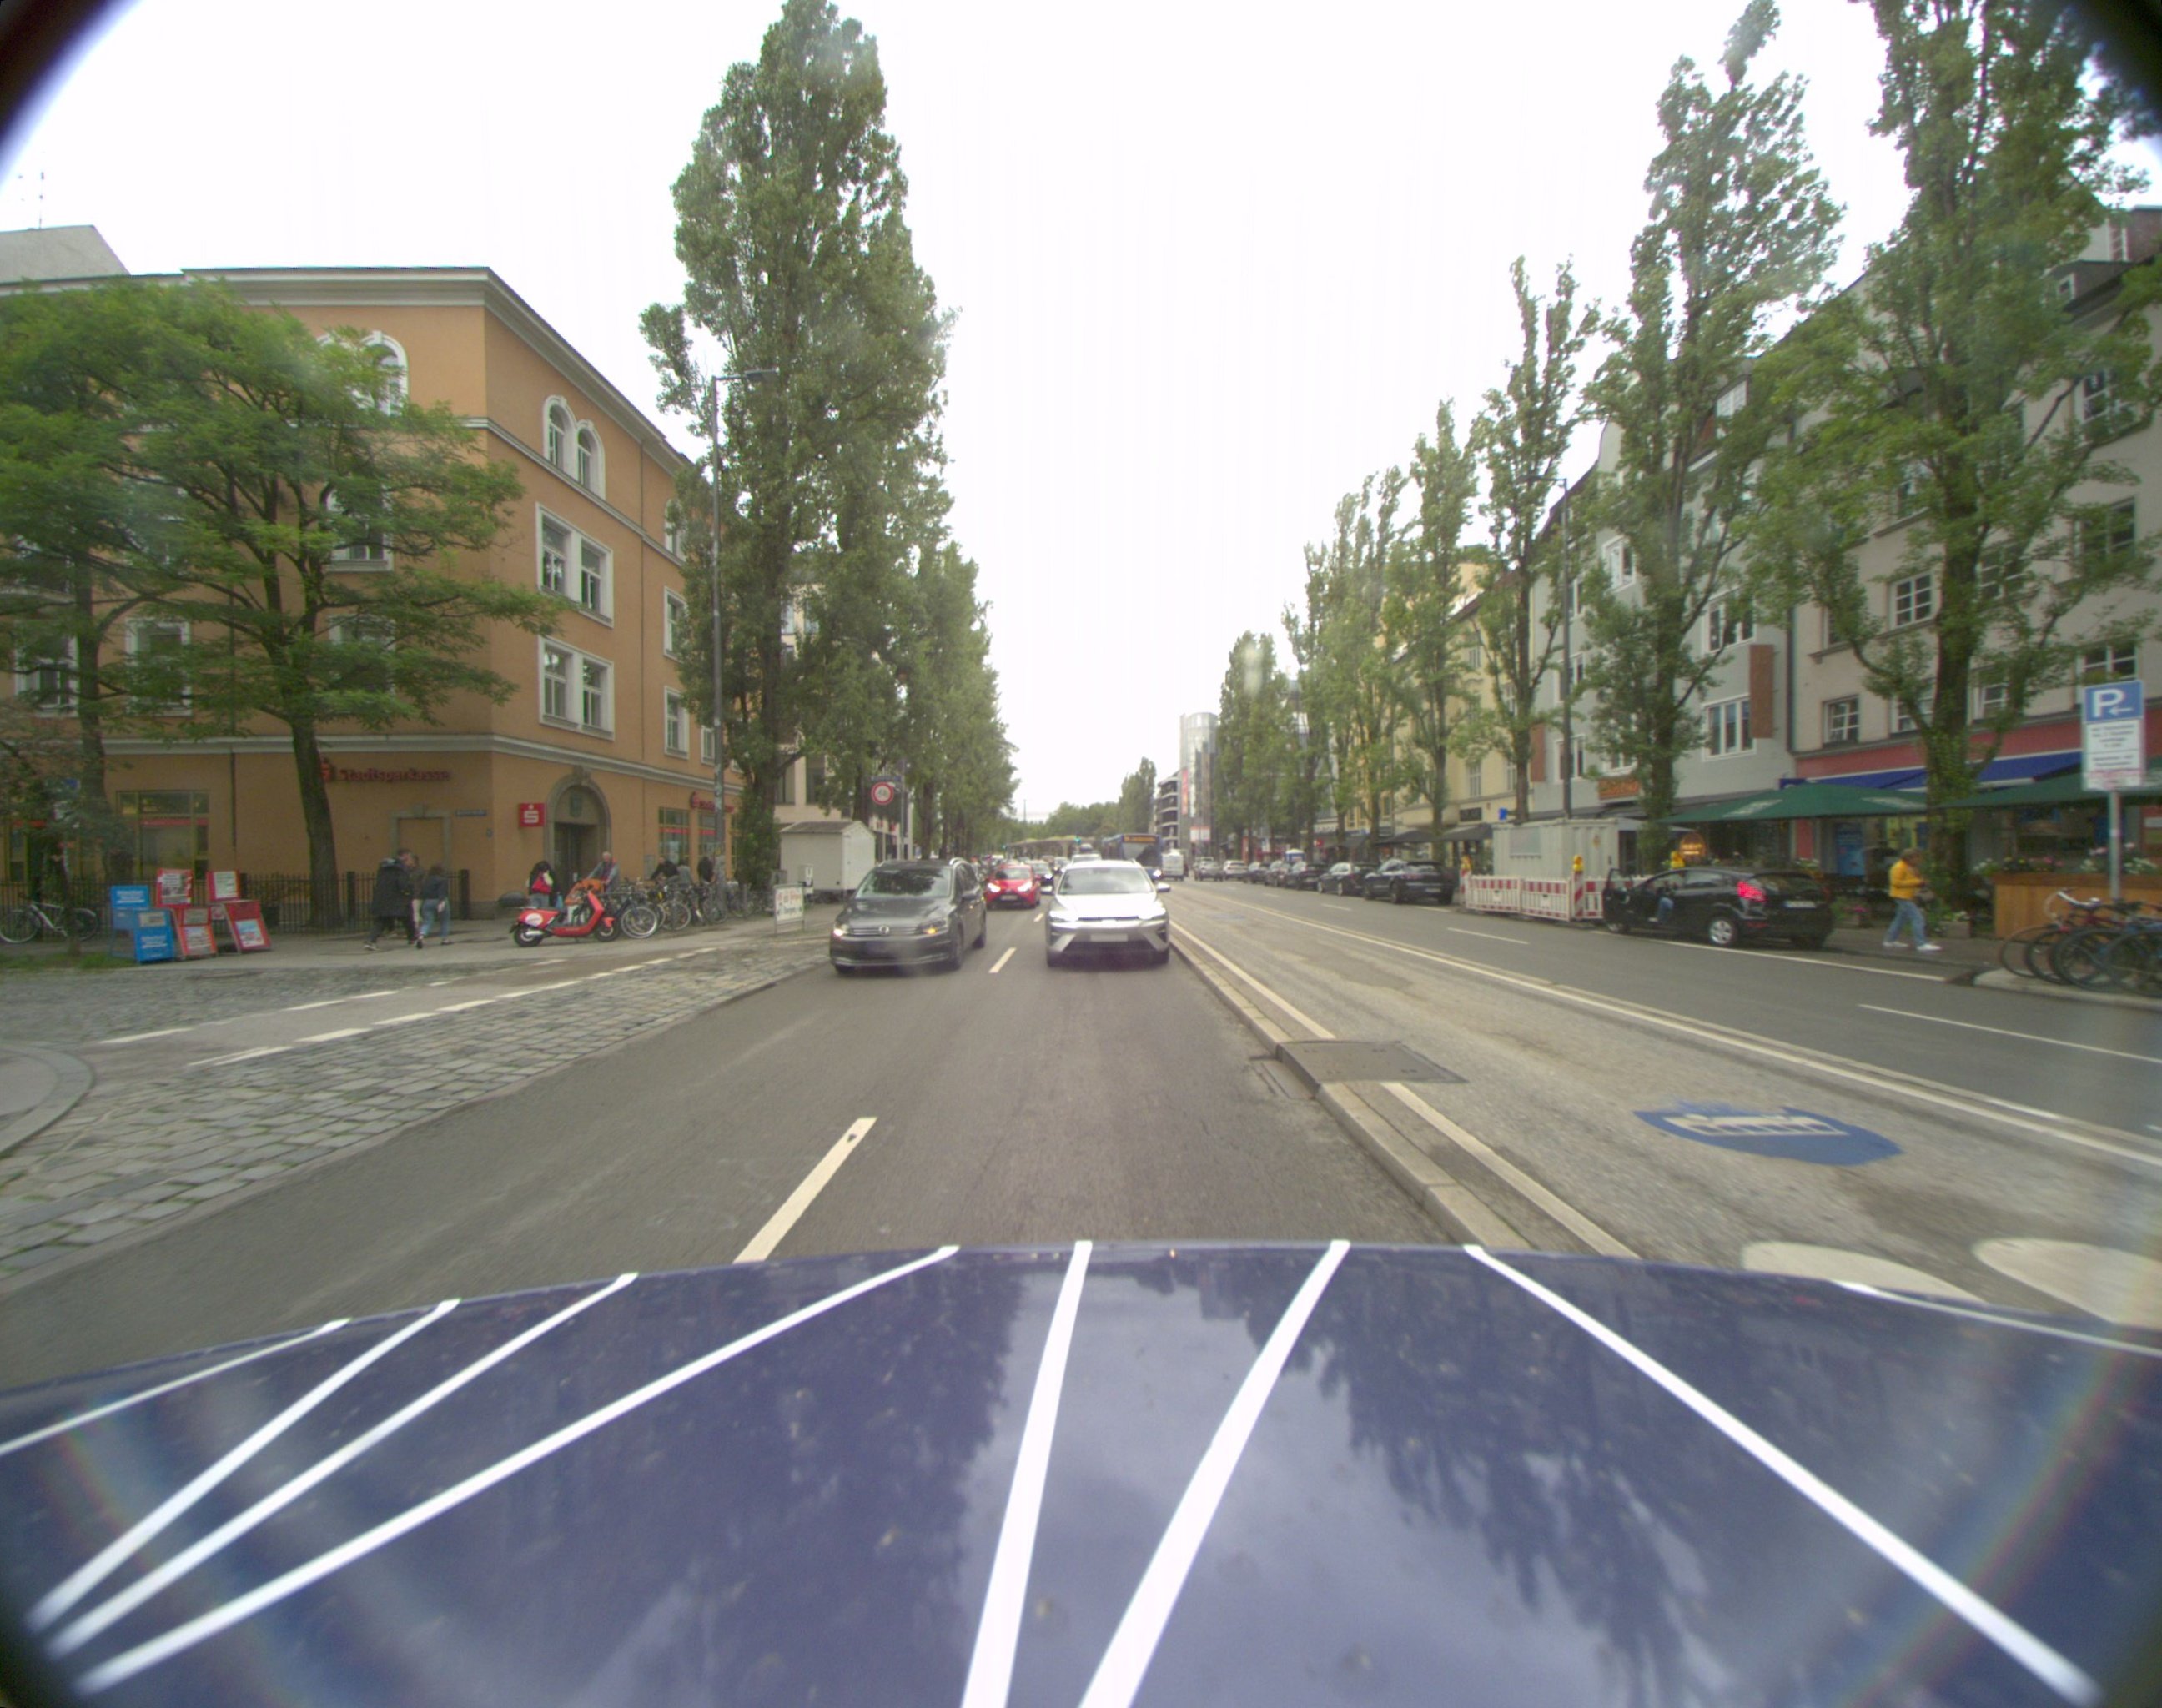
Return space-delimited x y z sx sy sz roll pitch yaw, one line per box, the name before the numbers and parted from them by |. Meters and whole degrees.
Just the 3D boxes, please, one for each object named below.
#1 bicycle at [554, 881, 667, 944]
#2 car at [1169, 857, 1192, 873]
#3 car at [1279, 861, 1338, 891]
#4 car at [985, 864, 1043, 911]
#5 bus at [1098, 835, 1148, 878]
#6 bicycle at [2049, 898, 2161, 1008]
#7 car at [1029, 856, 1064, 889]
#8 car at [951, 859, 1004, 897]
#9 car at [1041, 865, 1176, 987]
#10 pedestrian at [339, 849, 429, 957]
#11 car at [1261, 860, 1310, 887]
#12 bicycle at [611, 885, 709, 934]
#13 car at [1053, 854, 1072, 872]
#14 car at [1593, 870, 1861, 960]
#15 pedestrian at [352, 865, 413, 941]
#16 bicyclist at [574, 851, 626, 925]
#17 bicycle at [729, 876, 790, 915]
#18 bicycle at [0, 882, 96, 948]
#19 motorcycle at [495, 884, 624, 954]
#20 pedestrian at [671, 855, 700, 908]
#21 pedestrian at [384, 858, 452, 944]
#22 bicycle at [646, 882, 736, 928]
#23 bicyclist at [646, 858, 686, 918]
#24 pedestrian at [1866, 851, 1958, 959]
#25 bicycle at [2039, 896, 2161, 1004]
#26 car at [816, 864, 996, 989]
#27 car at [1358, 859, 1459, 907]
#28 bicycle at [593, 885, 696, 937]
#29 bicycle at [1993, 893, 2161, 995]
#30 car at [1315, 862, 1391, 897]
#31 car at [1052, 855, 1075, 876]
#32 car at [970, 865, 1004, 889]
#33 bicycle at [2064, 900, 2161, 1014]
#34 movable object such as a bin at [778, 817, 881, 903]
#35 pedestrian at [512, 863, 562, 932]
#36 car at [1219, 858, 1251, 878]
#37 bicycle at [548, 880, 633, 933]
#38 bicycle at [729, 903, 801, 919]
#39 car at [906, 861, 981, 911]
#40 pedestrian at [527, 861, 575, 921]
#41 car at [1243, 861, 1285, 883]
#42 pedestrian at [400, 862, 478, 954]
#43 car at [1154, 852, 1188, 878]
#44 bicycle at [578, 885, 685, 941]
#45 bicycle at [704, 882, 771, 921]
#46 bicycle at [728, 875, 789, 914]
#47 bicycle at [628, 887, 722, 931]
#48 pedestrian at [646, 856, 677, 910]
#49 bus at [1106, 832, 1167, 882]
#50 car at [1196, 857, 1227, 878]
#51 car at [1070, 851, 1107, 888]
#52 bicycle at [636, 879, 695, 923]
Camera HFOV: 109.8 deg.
bicycle | -9.611 1.190 15.559 1.945 1.232 0.561 -1 0 1
car | 10.052 1.096 76.836 1.750 1.509 4.363 0 0 0
car | 11.934 1.109 40.165 1.802 1.431 4.574 0 0 1
car | -2.218 1.089 26.144 1.616 1.425 4.003 -2 0 0
bus | 3.038 0.187 58.154 2.691 2.932 10.049 -1 0 -3
bicycle | 11.556 1.030 7.800 1.976 1.119 0.283 -2 1 37
car | -1.984 0.990 42.159 1.707 1.683 4.001 -2 0 -5
car | -4.759 1.048 35.459 1.789 1.604 4.498 -2 0 0
car | 0.362 0.986 12.116 1.742 1.509 4.033 -2 0 0
pedestrian | -13.077 0.896 14.283 0.839 1.937 0.802 -2 1 4
car | 12.200 1.118 45.660 1.802 1.495 4.574 0 0 1
bicycle | -9.731 1.278 17.596 1.945 1.069 0.561 -1 0 1
car | -1.912 0.903 77.947 1.707 1.683 4.001 -2 0 -5
car | 11.965 1.048 14.455 1.760 1.414 3.784 0 0 -3
pedestrian | -15.033 1.041 16.368 0.699 1.562 0.575 -2 1 3
bicyclist | -11.747 0.816 18.575 0.831 1.747 0.667 -1 0 -8
bicycle | -9.269 1.183 21.926 1.604 1.078 0.341 -1 0 -22
bicycle | -23.065 1.346 16.751 1.945 1.364 0.561 -2 0 1
motorcycle | -9.955 1.218 14.595 1.963 1.214 0.514 -1 0 -25
pedestrian | -12.808 0.883 24.606 0.619 1.684 0.574 -2 1 -8
pedestrian | -14.040 0.979 16.112 0.699 1.756 0.732 -2 1 3
bicycle | -9.713 1.264 18.949 1.945 1.078 0.561 -1 0 1
bicyclist | -11.773 0.951 21.567 0.741 1.677 0.748 -1 0 -7
pedestrian | 13.589 0.809 12.442 0.699 1.716 0.732 0 0 -2
bicycle | 11.730 1.021 8.025 1.976 1.119 0.283 -2 1 37
car | -2.574 0.995 12.250 1.882 1.582 4.192 -2 0 0
car | 11.839 0.983 27.815 1.802 1.603 4.574 0 0 1
bicycle | -9.669 1.262 16.853 1.945 1.082 0.561 -1 0 1
bicycle | 12.036 1.016 8.716 1.976 1.119 0.343 -2 1 37
car | 11.966 1.077 33.731 1.802 1.431 4.574 0 0 1
car | -1.518 0.984 64.385 1.707 1.683 4.001 -2 0 -5
car | -6.028 1.454 49.193 1.700 1.352 4.003 -2 0 0
bicycle | 11.367 1.033 7.516 1.976 1.119 0.361 -2 1 37
movable object such as a bin | -9.755 0.228 29.924 2.445 3.118 4.544 1 0 1
pedestrian | -12.840 1.019 17.948 0.747 1.562 0.613 -3 1 -19
car | 12.480 1.091 61.780 1.802 1.568 4.105 0 0 1
bicycle | -11.682 1.212 18.201 0.887 1.113 2.100 -1 0 -8
bicycle | -8.784 1.591 21.180 1.677 0.371 0.830 1 0 -7
car | -4.774 1.072 26.942 1.789 1.544 4.498 -2 0 0
pedestrian | -14.308 0.981 20.510 0.745 1.562 0.664 -2 1 3
car | 12.309 1.177 51.387 1.802 1.431 4.574 0 0 1
pedestrian | -12.188 1.006 14.447 0.746 1.651 0.771 -2 1 0
car | 6.923 0.853 58.895 1.897 1.921 5.071 0 0 -1
bicycle | -9.573 1.239 16.202 1.945 1.130 0.561 -1 0 1
bicycle | -9.197 1.274 20.372 1.602 1.004 0.342 -1 0 -7
bicycle | -9.426 1.183 22.256 1.610 1.078 0.321 -1 0 -22
bicycle | -9.719 1.306 18.201 1.945 1.004 0.561 -1 0 1
pedestrian | -13.486 0.921 24.458 0.634 1.684 0.574 -2 1 -7
bus | 3.438 0.204 49.923 2.697 2.932 10.049 -1 0 -3
car | 9.999 0.998 58.632 1.718 1.532 4.077 1 0 1
car | 0.359 0.787 41.672 1.839 1.831 5.129 -2 1 0
bicycle | -11.781 1.311 21.618 0.737 1.113 2.100 -1 0 -8
